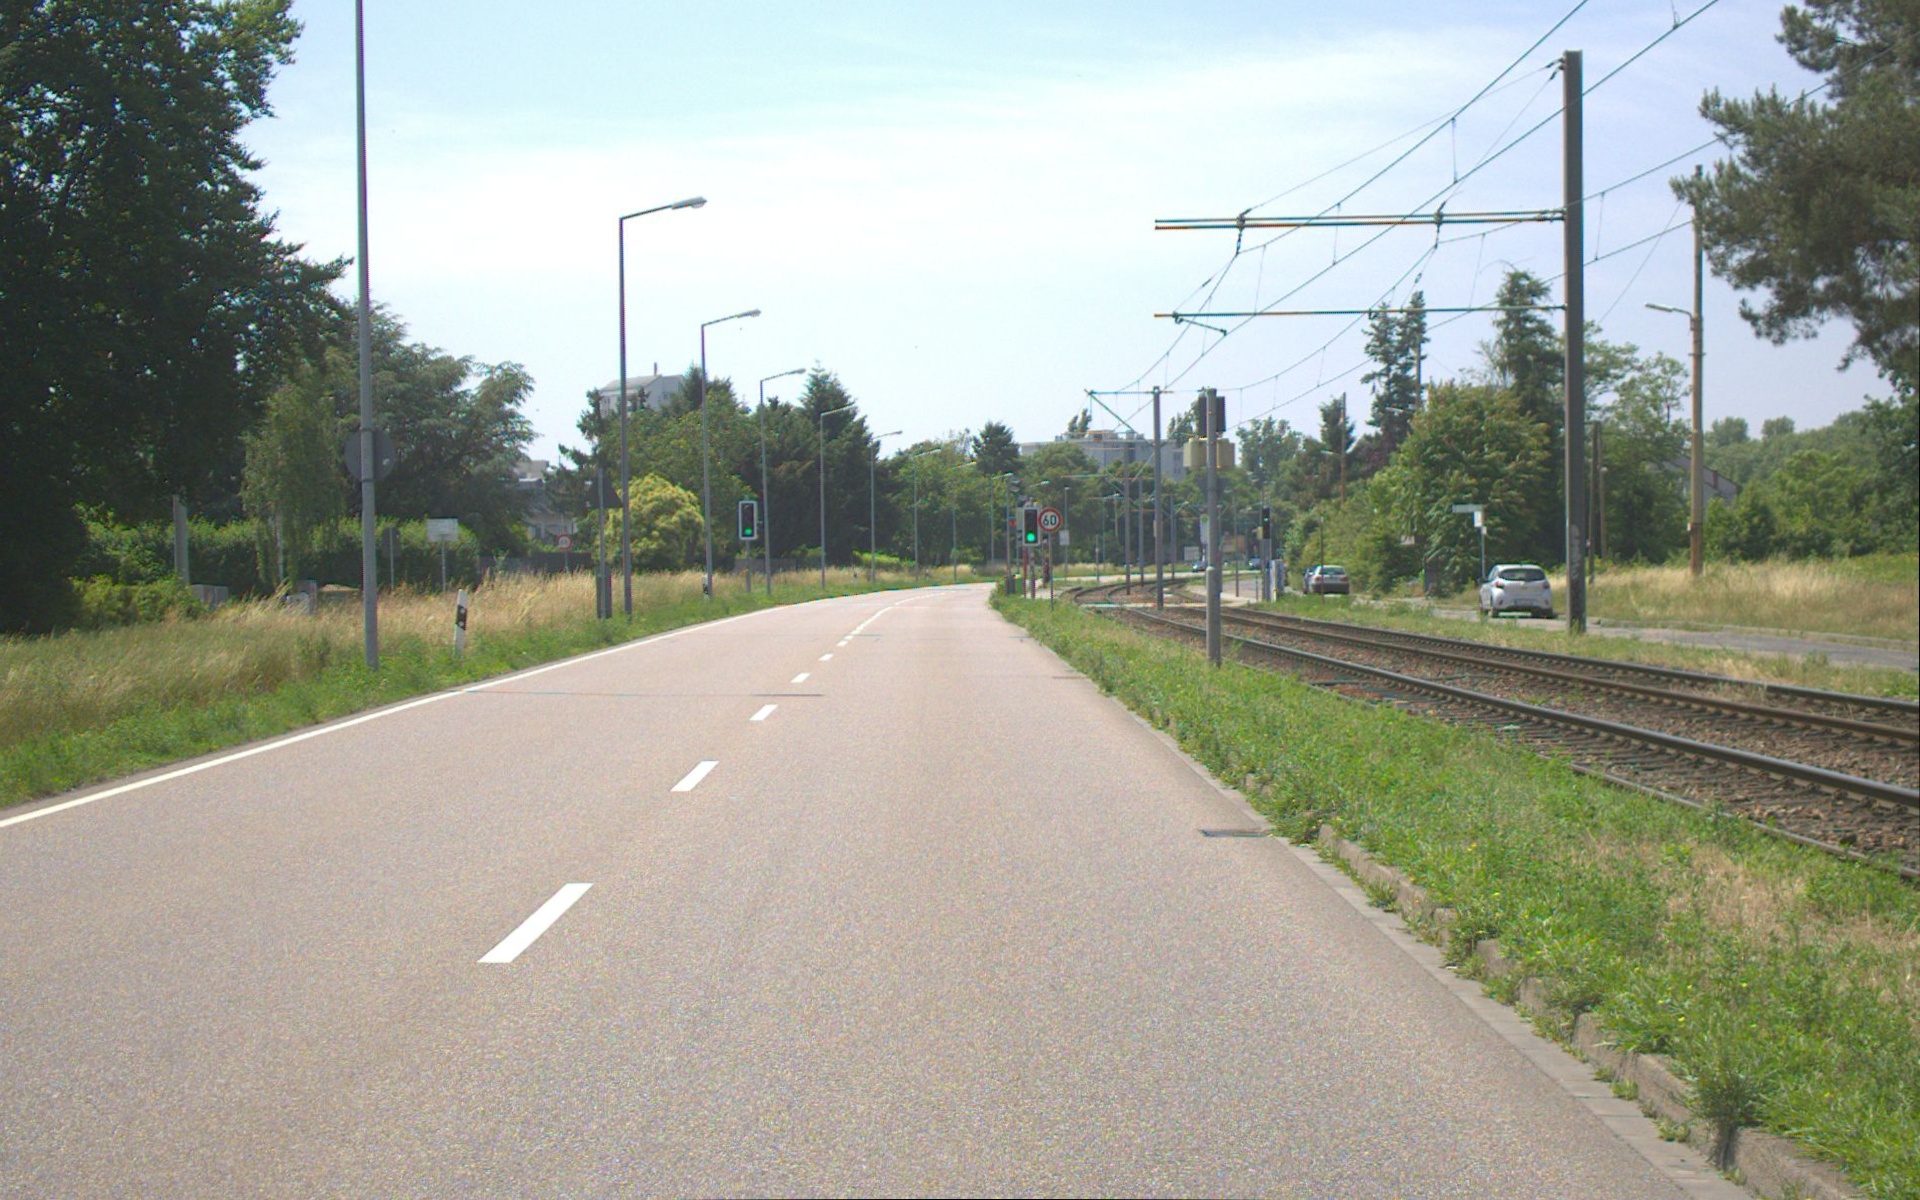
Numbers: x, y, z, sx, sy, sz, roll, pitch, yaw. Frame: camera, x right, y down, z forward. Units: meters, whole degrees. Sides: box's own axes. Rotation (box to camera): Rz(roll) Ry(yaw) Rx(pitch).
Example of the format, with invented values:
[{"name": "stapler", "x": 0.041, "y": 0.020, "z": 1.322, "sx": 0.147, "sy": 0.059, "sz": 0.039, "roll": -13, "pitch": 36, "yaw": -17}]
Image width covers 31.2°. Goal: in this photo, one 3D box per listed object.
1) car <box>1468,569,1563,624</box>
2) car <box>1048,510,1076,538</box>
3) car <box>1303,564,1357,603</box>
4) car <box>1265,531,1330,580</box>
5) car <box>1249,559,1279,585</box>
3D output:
[{"name": "car", "x": 15.716, "y": -0.093, "z": 97.481, "sx": 1.993, "sy": 1.503, "sz": 4.000, "roll": -1, "pitch": 0, "yaw": 0}, {"name": "car", "x": 6.169, "y": -4.589, "z": 207.611, "sx": 1.551, "sy": 1.579, "sz": 3.569, "roll": -1, "pitch": 0, "yaw": 0}, {"name": "car", "x": 16.455, "y": -0.732, "z": 152.882, "sx": 1.915, "sy": 1.656, "sz": 4.000, "roll": -1, "pitch": 0, "yaw": 0}, {"name": "car", "x": 11.260, "y": -1.474, "z": 114.830, "sx": 1.744, "sy": 1.554, "sz": 4.000, "roll": -1, "pitch": 0, "yaw": 0}, {"name": "car", "x": 21.294, "y": -1.960, "z": 240.958, "sx": 1.757, "sy": 1.744, "sz": 4.000, "roll": -1, "pitch": 0, "yaw": 0}]
